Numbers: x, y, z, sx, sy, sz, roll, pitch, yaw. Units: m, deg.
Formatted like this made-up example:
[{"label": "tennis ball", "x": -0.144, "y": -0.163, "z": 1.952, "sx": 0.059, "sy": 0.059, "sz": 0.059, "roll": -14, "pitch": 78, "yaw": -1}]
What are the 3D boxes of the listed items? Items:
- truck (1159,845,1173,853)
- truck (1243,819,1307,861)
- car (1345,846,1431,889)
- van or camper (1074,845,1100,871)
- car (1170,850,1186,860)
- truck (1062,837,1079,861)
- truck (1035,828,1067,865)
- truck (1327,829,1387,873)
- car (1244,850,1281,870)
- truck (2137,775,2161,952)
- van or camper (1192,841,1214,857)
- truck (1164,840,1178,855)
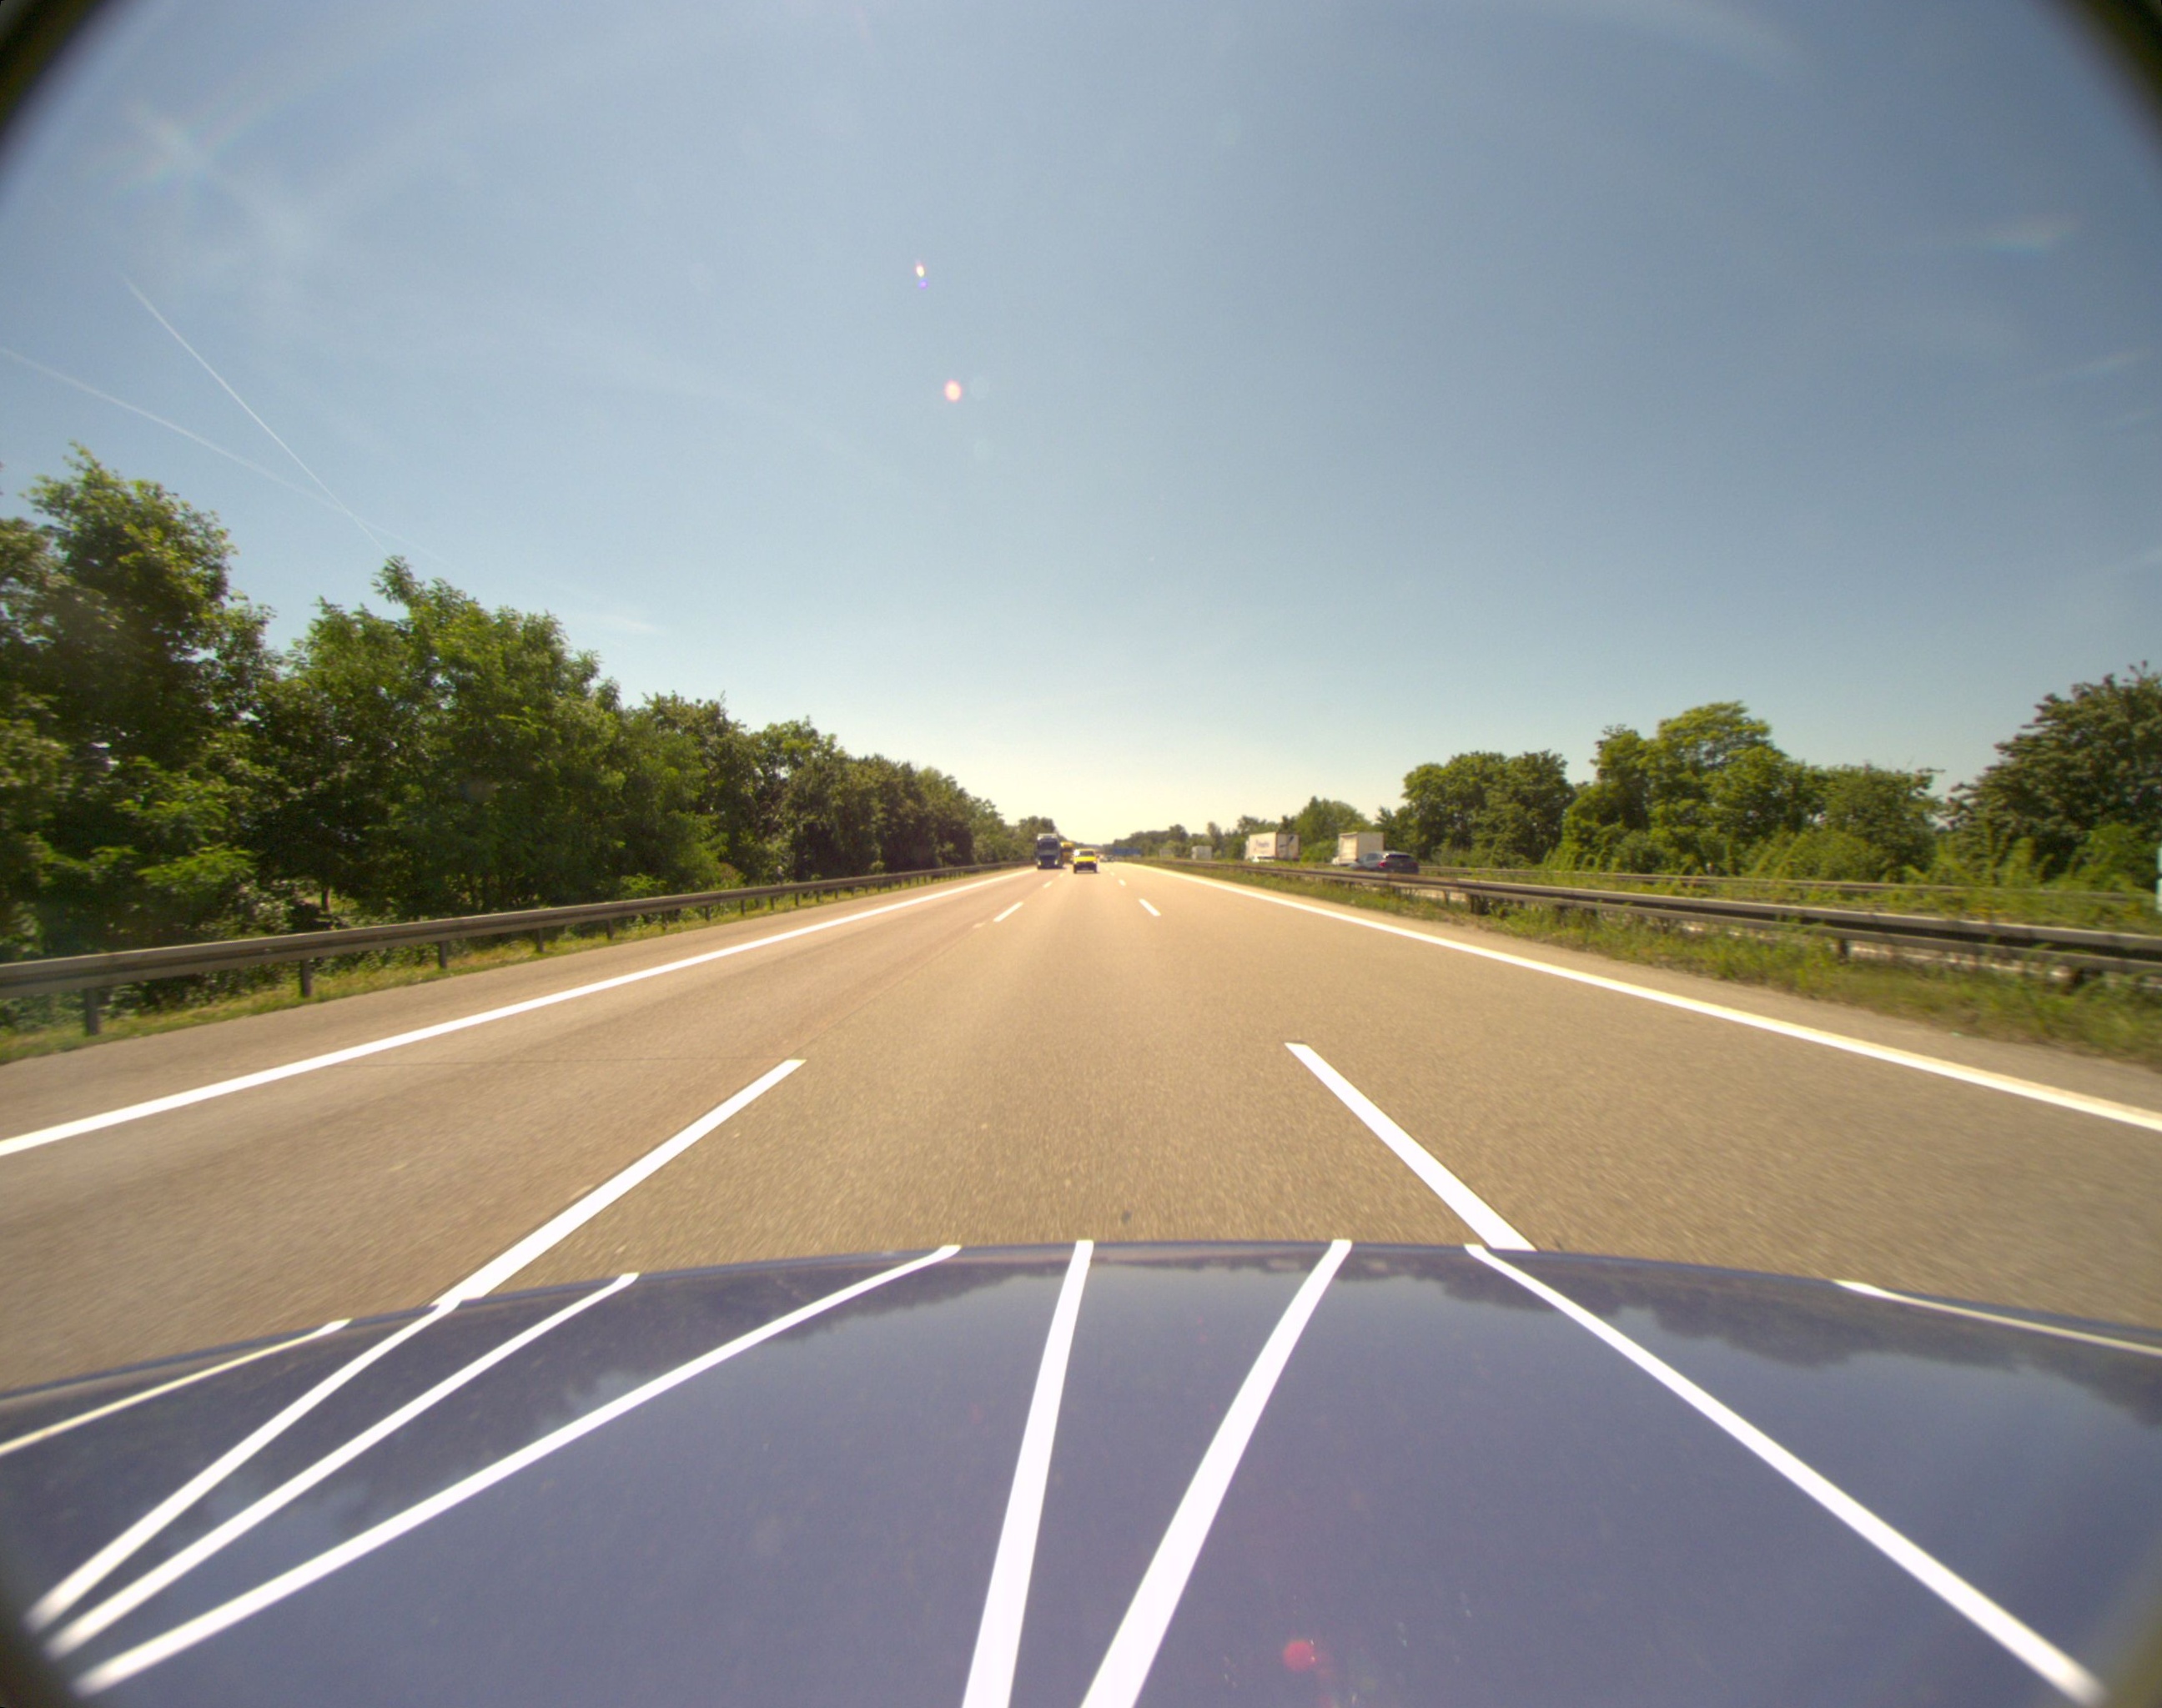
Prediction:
[{"label": "truck", "x": 19.997, "y": -1.160, "z": 178.323, "sx": 2.735, "sy": 2.055, "sz": 7.138, "roll": 0, "pitch": 0, "yaw": 2}, {"label": "truck", "x": 22.693, "y": -1.545, "z": 90.405, "sx": 3.224, "sy": 4.352, "sz": 17.191, "roll": 3, "pitch": 0, "yaw": 1}, {"label": "car", "x": 13.079, "y": 0.511, "z": 32.663, "sx": 1.998, "sy": 1.724, "sz": 4.242, "roll": 0, "pitch": 0, "yaw": 1}, {"label": "van or camper", "x": 0.472, "y": 0.334, "z": 61.149, "sx": 1.998, "sy": 1.898, "sz": 4.972, "roll": -2, "pitch": -1, "yaw": 1}, {"label": "car", "x": 15.043, "y": 0.083, "z": 117.580, "sx": 1.998, "sy": 1.510, "sz": 4.000, "roll": 0, "pitch": 0, "yaw": 1}, {"label": "truck", "x": -1.833, "y": -0.866, "z": 143.879, "sx": 2.852, "sy": 4.232, "sz": 16.791, "roll": 0, "pitch": 0, "yaw": 0}, {"label": "truck", "x": -3.372, "y": -0.807, "z": 90.150, "sx": 2.977, "sy": 3.934, "sz": 16.612, "roll": -2, "pitch": 0, "yaw": 0}, {"label": "truck", "x": 22.850, "y": -0.255, "z": 63.258, "sx": 2.375, "sy": 3.444, "sz": 7.422, "roll": 0, "pitch": 0, "yaw": 1}, {"label": "car", "x": 14.207, "y": 0.418, "z": 59.691, "sx": 1.998, "sy": 1.501, "sz": 4.242, "roll": 0, "pitch": 0, "yaw": 1}, {"label": "truck", "x": 20.737, "y": 0.192, "z": 9.496, "sx": 2.719, "sy": 3.189, "sz": 8.924, "roll": -1, "pitch": 1, "yaw": 1}, {"label": "van or camper", "x": 19.119, "y": -0.759, "z": 119.484, "sx": 2.474, "sy": 2.545, "sz": 7.808, "roll": 0, "pitch": 0, "yaw": 1}, {"label": "truck", "x": 26.445, "y": -1.917, "z": 224.137, "sx": 2.735, "sy": 4.029, "sz": 15.936, "roll": 0, "pitch": 0, "yaw": 1}]
